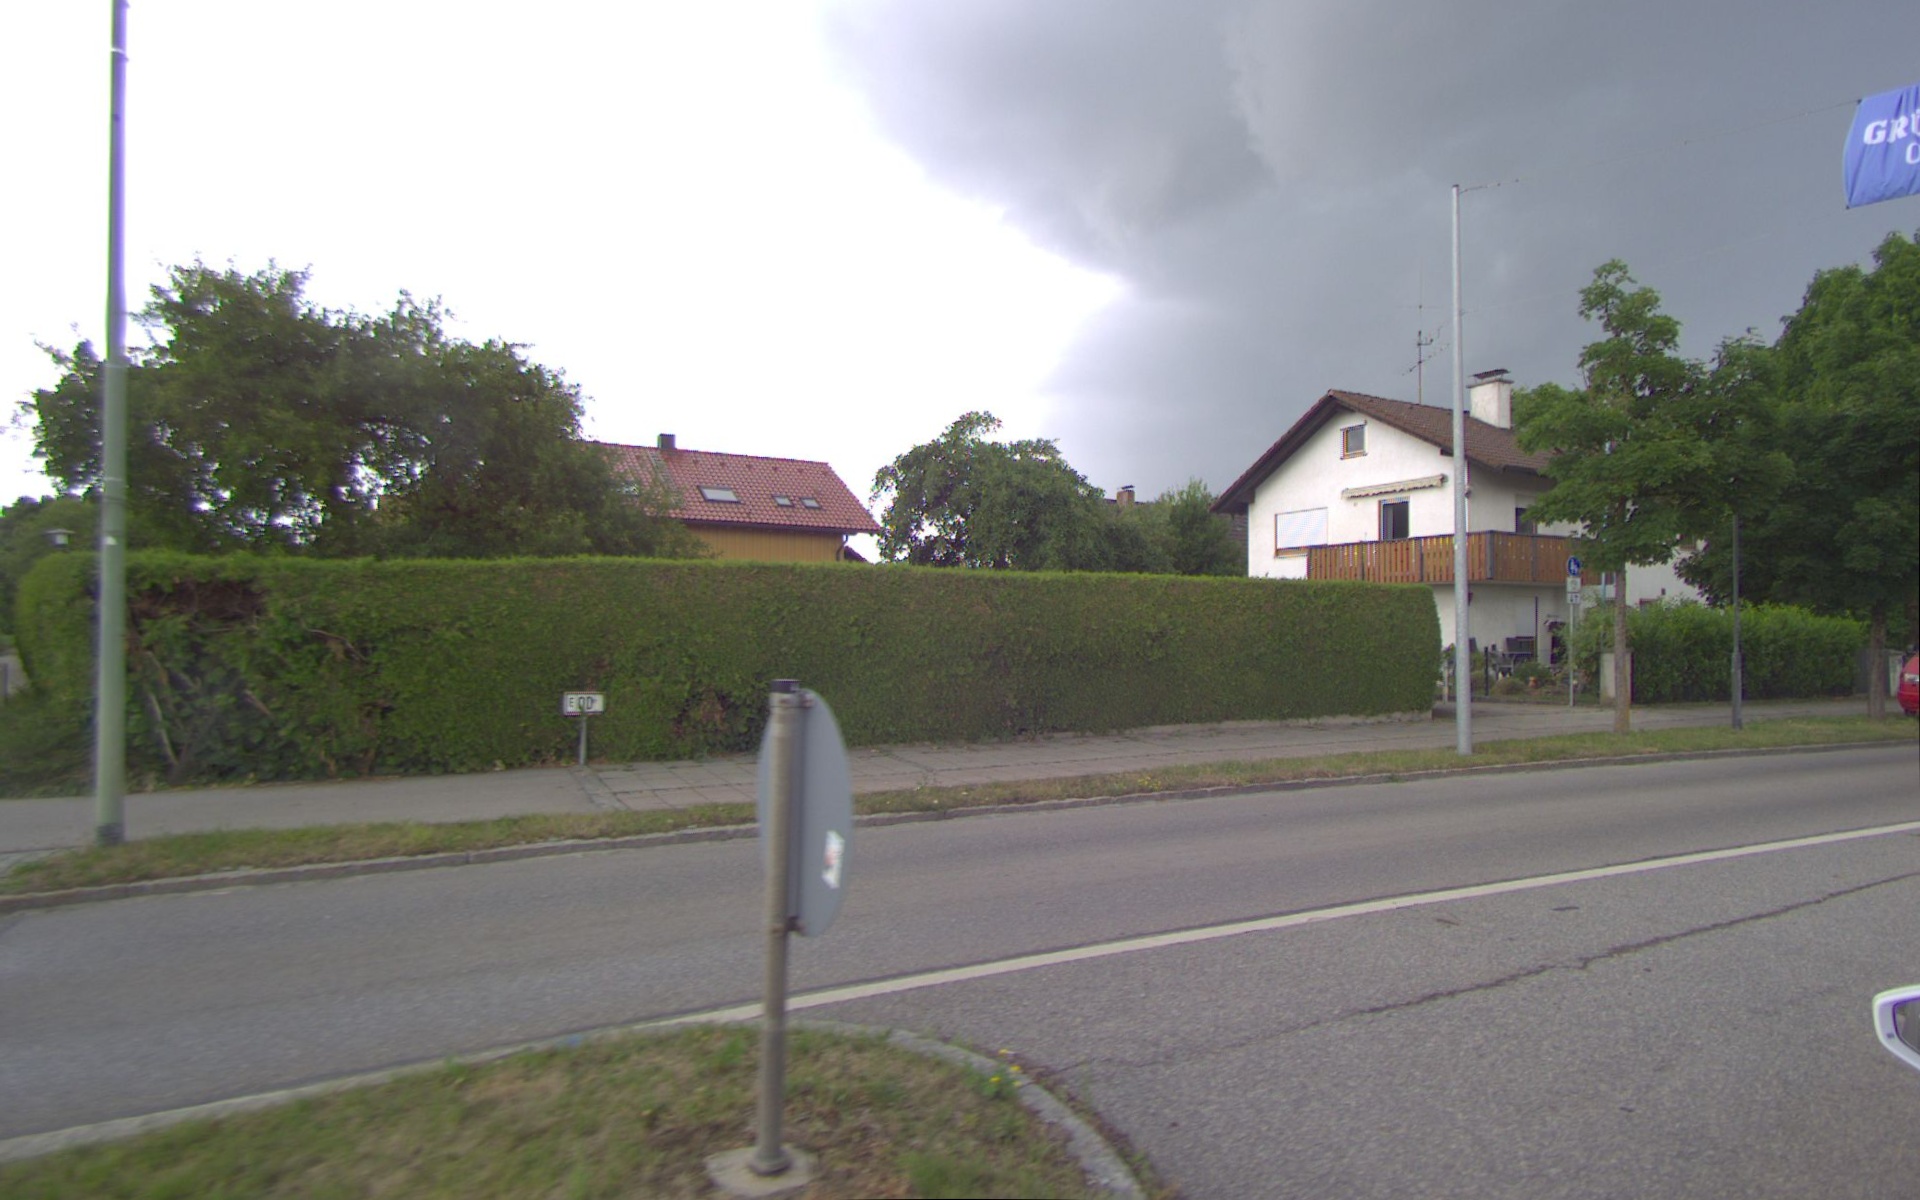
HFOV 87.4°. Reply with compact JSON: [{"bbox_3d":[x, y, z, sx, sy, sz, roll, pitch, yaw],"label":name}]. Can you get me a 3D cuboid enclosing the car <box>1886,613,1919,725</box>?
[{"bbox_3d":[20.209,1.338,19.534,4.986,2.057,1.821,1,0,-30],"label":"car"}]
